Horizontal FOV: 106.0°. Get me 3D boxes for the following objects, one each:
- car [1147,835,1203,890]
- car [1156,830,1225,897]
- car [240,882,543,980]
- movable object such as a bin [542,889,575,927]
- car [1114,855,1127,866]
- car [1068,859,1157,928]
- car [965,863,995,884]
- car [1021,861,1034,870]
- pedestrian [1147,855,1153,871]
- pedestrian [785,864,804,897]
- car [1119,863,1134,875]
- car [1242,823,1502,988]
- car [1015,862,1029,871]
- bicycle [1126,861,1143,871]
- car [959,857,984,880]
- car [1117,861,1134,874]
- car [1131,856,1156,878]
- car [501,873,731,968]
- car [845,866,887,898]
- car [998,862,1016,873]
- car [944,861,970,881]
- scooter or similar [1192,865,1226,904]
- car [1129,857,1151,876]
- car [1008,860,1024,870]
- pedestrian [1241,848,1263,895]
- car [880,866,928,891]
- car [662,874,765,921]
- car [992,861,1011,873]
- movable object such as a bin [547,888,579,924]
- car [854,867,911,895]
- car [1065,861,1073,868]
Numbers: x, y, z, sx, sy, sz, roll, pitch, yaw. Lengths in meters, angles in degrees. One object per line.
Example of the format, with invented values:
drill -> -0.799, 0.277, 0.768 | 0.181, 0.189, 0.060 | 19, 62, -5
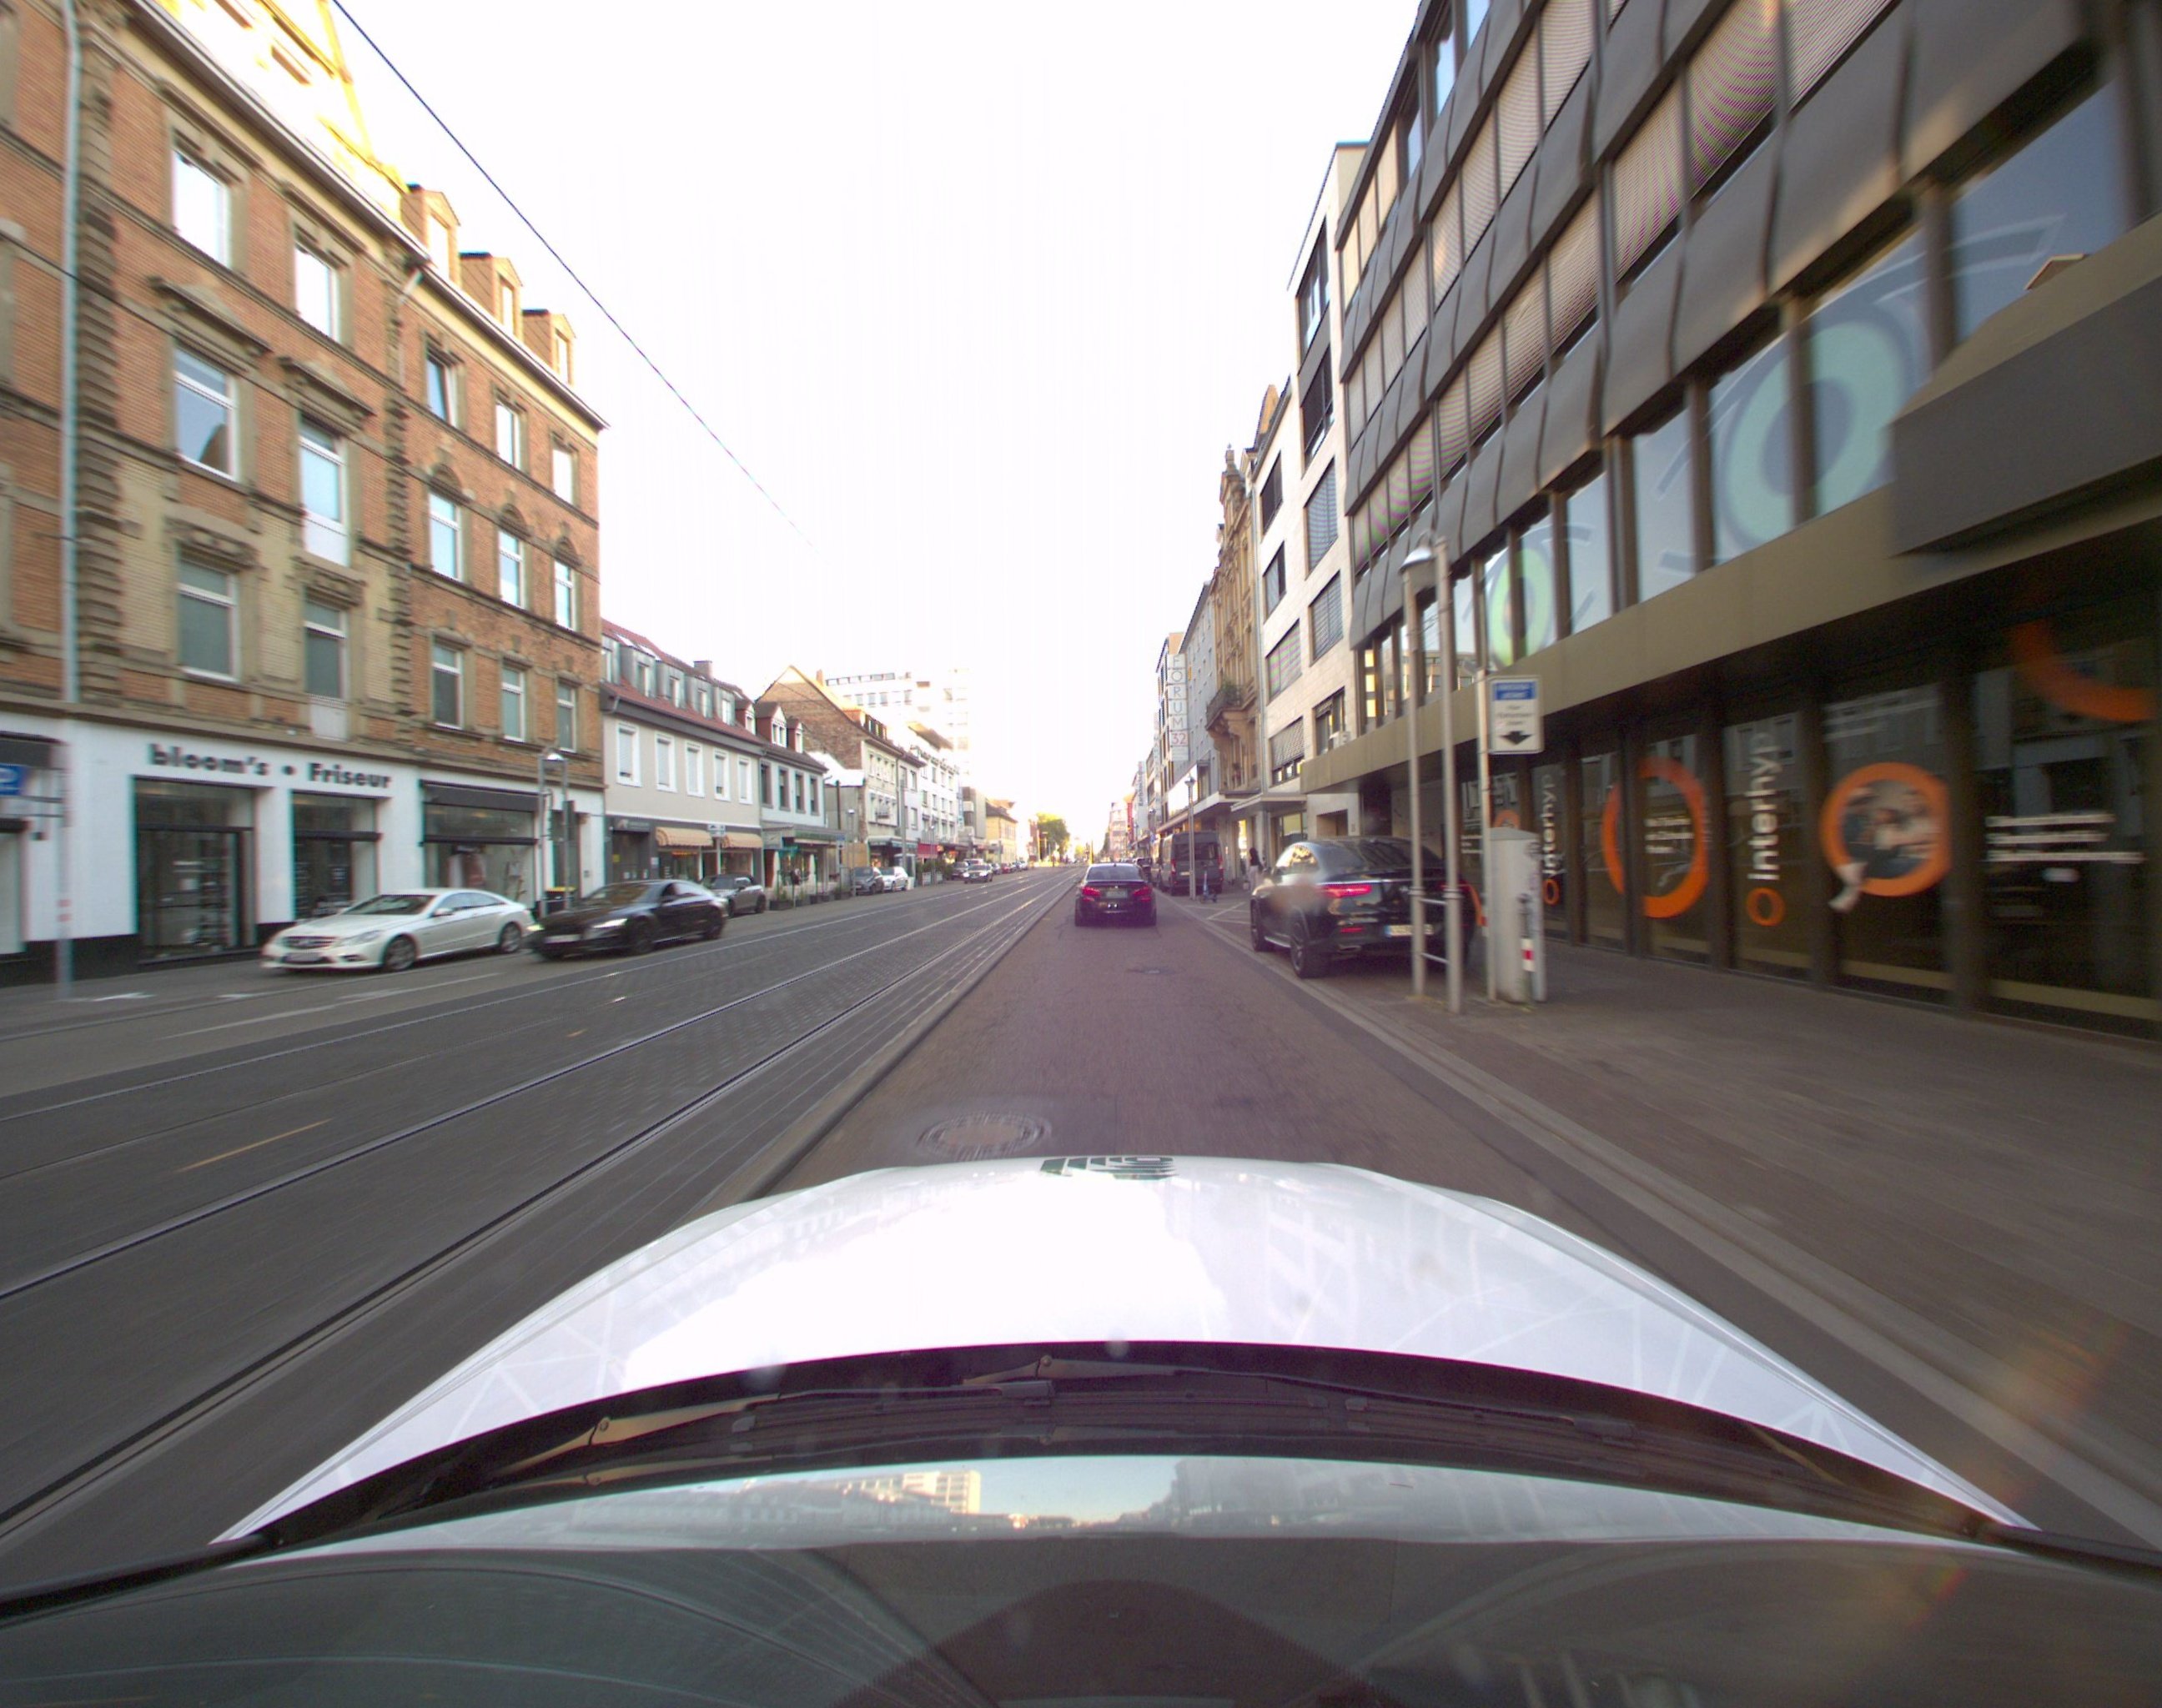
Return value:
car -> 4.613, 0.423, 40.726 | 2.027, 2.455, 5.408 | -4, 0, 0
car -> 4.511, 0.374, 34.375 | 2.085, 2.455, 6.033 | -3, 0, 1
car -> -12.669, 1.331, 15.479 | 1.863, 1.453, 4.607 | 1, -1, -1
movable object such as a bin -> -15.230, 1.569, 23.728 | 0.516, 1.043, 0.659 | 0, -1, 1
car -> 5.915, 1.020, 122.785 | 1.768, 1.549, 3.503 | -1, -1, 1
car -> 0.804, 0.890, 20.132 | 1.946, 1.498, 4.468 | -1, 0, 3
car -> -7.810, 1.496, 63.115 | 1.686, 1.453, 4.465 | -2, 0, 0
car -> -9.604, 2.042, 145.889 | 1.921, 1.435, 4.247 | -1, 0, 1
pedestrian -> 7.652, 1.008, 90.783 | 0.552, 1.791, 0.760 | -2, -1, 1
pedestrian -> -14.424, 1.313, 41.026 | 0.660, 1.644, 0.694 | -1, -1, 1
car -> 6.004, 1.985, 108.419 | 1.896, 1.549, 3.781 | -1, -1, 1
car -> 3.641, 0.582, 11.214 | 1.986, 1.727, 4.566 | -2, -1, 1
car -> -9.558, 2.030, 131.913 | 1.921, 1.435, 4.247 | -1, 0, 1
bicycle -> 6.059, 1.364, 92.298 | 1.854, 1.080, 0.469 | -1, -2, 2
car -> -11.064, 1.449, 82.798 | 1.988, 2.156, 4.907 | -2, 0, -2
car -> 5.561, 1.723, 101.747 | 1.896, 1.549, 4.001 | -1, -1, 1
car -> 4.842, 0.999, 63.265 | 1.649, 1.537, 3.886 | -3, 0, 1
car -> -9.102, 1.219, 16.526 | 1.988, 1.453, 4.646 | -3, 0, -1
car -> -11.529, 1.466, 43.824 | 1.472, 1.577, 2.794 | -2, -1, -1
car -> -10.126, 1.799, 112.122 | 1.921, 1.435, 4.247 | -1, 0, 1
car -> -11.343, 1.543, 74.661 | 1.862, 1.685, 3.995 | -1, -1, -3
scooter or similar -> 4.202, 0.986, 26.765 | 0.493, 1.220, 1.273 | -2, -1, 38
car -> 4.958, 1.028, 68.278 | 1.554, 1.442, 3.709 | -4, 0, 1
car -> -10.029, 1.737, 125.741 | 1.921, 1.435, 4.247 | -2, -1, 1
pedestrian -> 6.247, 0.636, 29.839 | 0.548, 1.644, 0.533 | -6, 0, 1
car -> -11.451, 1.554, 53.081 | 1.986, 1.453, 4.332 | -2, 0, 2
car -> -12.269, 1.412, 27.473 | 1.592, 1.440, 3.814 | 0, -1, 2
car -> -10.418, 1.702, 107.067 | 1.921, 1.435, 4.247 | -1, 0, 1
movable object such as a bin -> -15.578, 1.552, 24.517 | 0.493, 1.033, 0.694 | 0, -1, 1
car -> -11.663, 1.558, 48.170 | 1.986, 1.453, 4.824 | -2, 0, 2
car -> -3.473, 3.054, 229.650 | 1.986, 1.838, 4.000 | -1, -3, 1
